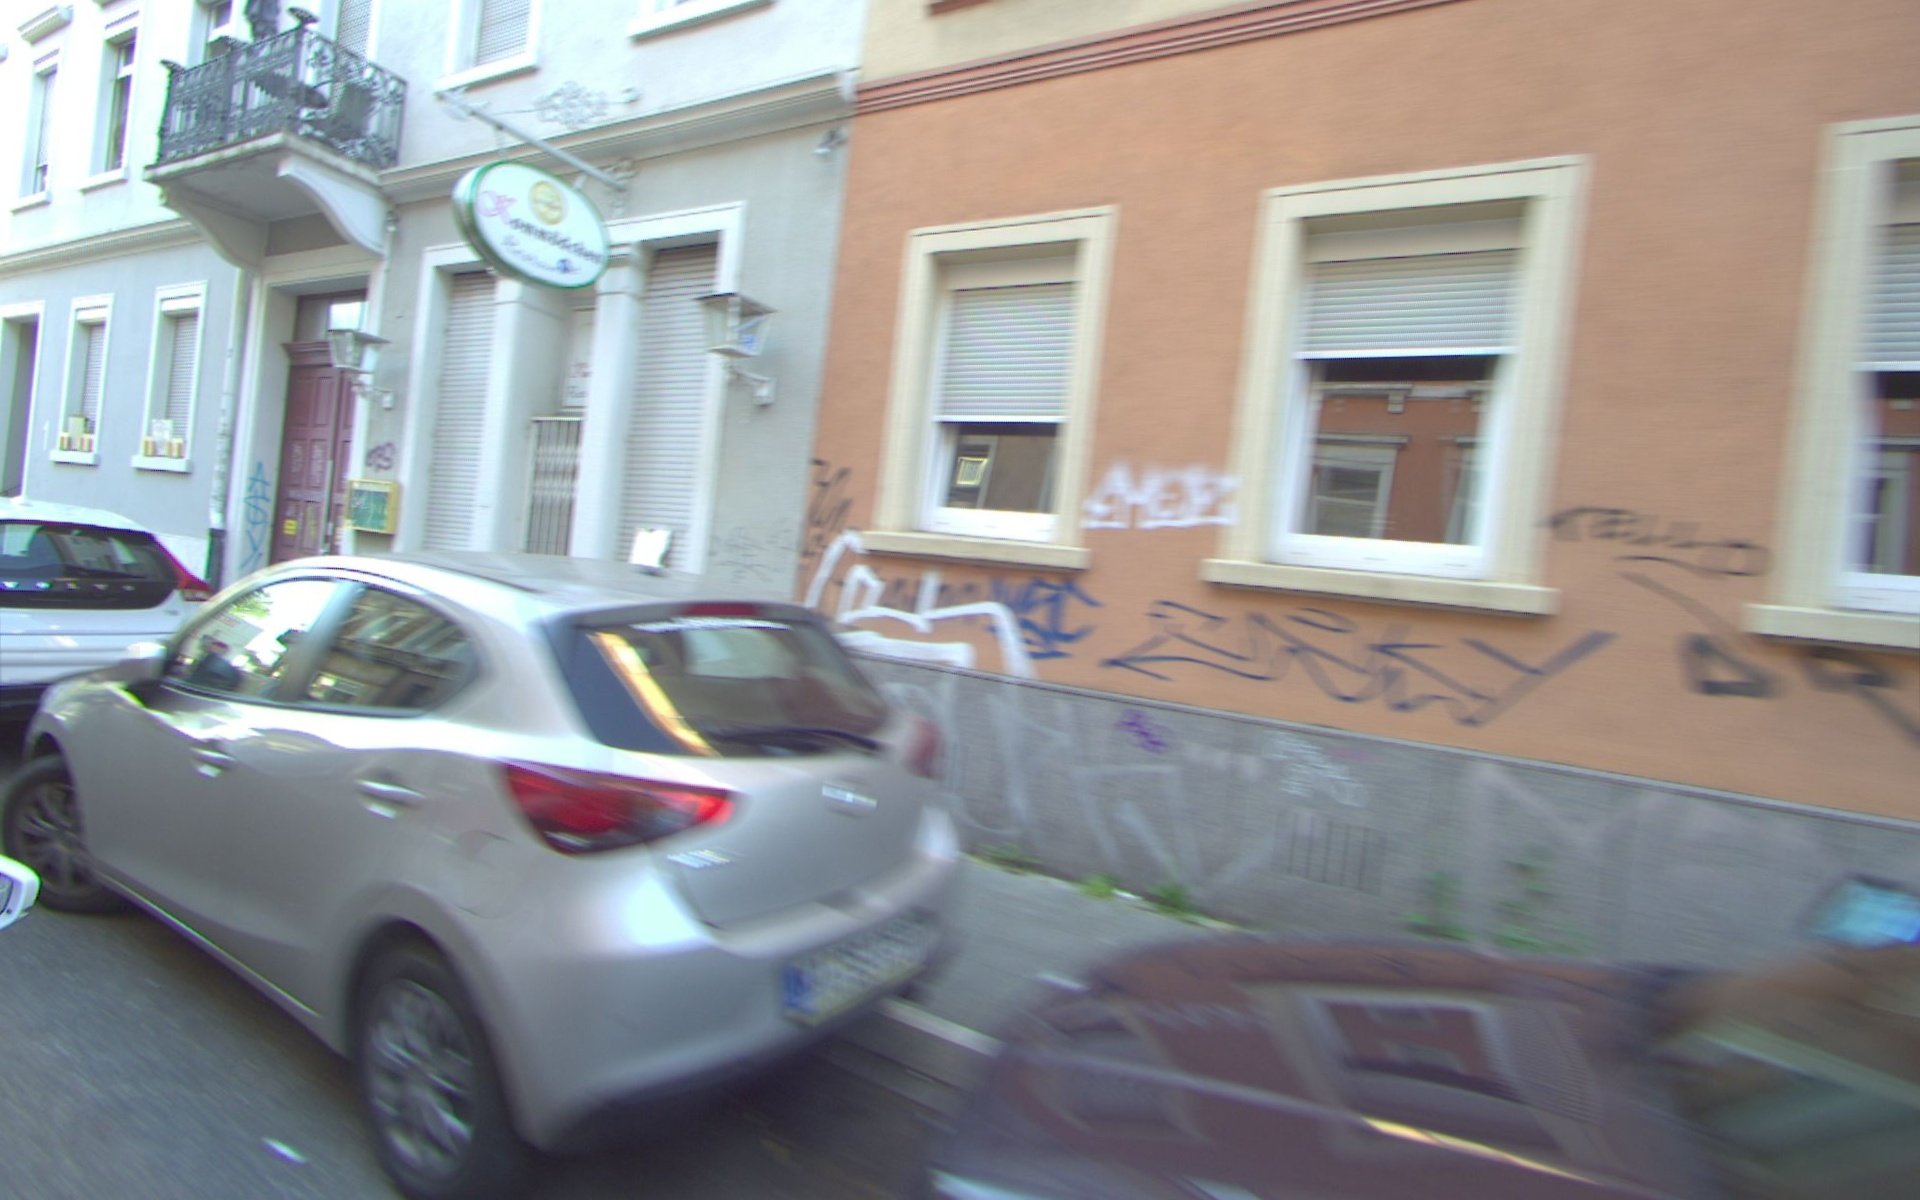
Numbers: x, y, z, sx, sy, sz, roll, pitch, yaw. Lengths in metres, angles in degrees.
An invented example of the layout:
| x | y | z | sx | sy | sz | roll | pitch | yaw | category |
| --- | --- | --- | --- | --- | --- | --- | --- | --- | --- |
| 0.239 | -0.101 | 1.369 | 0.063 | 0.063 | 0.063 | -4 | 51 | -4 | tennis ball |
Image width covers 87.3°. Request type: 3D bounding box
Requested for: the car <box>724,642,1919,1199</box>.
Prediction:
| x | y | z | sx | sy | sz | roll | pitch | yaw | category |
| --- | --- | --- | --- | --- | --- | --- | --- | --- | --- |
| 1.998 | 1.074 | 1.079 | 4.419 | 1.410 | 1.771 | 7 | -2 | 30 | car |

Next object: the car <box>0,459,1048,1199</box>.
| x | y | z | sx | sy | sz | roll | pitch | yaw | category |
| --- | --- | --- | --- | --- | --- | --- | --- | --- | --- |
| -1.975 | 0.507 | 3.651 | 4.122 | 1.616 | 1.682 | 7 | -2 | 33 | car |

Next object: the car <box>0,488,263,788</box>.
| x | y | z | sx | sy | sz | roll | pitch | yaw | category |
| --- | --- | --- | --- | --- | --- | --- | --- | --- | --- |
| -6.507 | 0.021 | 6.419 | 4.119 | 1.528 | 1.683 | 7 | -2 | 30 | car |
